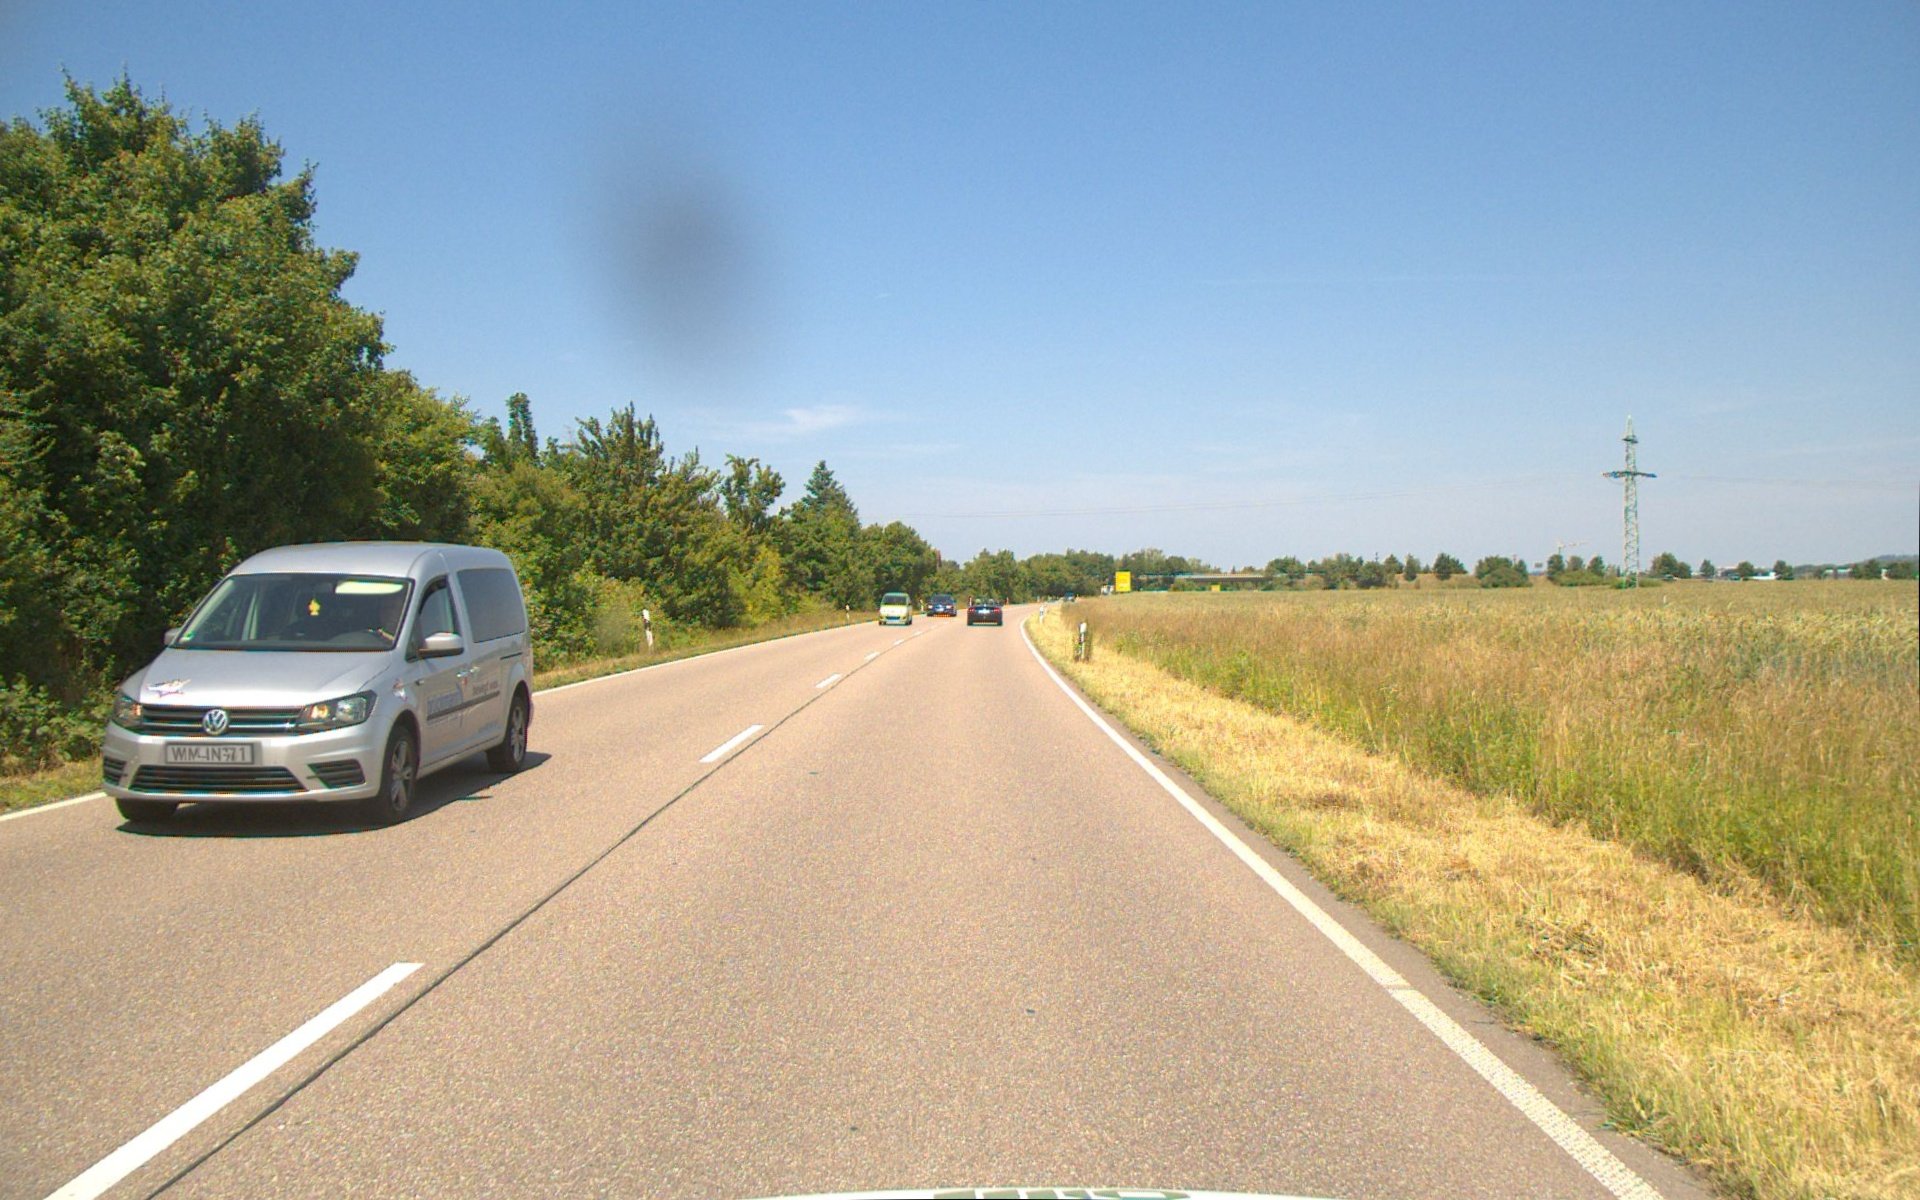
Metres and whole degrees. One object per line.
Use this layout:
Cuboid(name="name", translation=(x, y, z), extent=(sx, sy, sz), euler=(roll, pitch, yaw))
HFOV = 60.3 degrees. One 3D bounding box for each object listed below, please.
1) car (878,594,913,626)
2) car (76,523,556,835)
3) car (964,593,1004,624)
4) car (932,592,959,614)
Cuboid(name="car", translation=(-3.152, 0.485, 81.207), extent=(1.465, 1.521, 3.833), euler=(1, 0, 2))
Cuboid(name="car", translation=(-4.410, 0.464, 12.235), extent=(1.727, 1.851, 4.803), euler=(0, 0, -1))
Cuboid(name="car", translation=(1.213, 0.391, 81.995), extent=(1.776, 1.466, 4.002), euler=(1, 0, 4))
Cuboid(name="car", translation=(-0.972, 0.218, 113.846), extent=(1.763, 1.476, 4.533), euler=(1, 0, 0))
